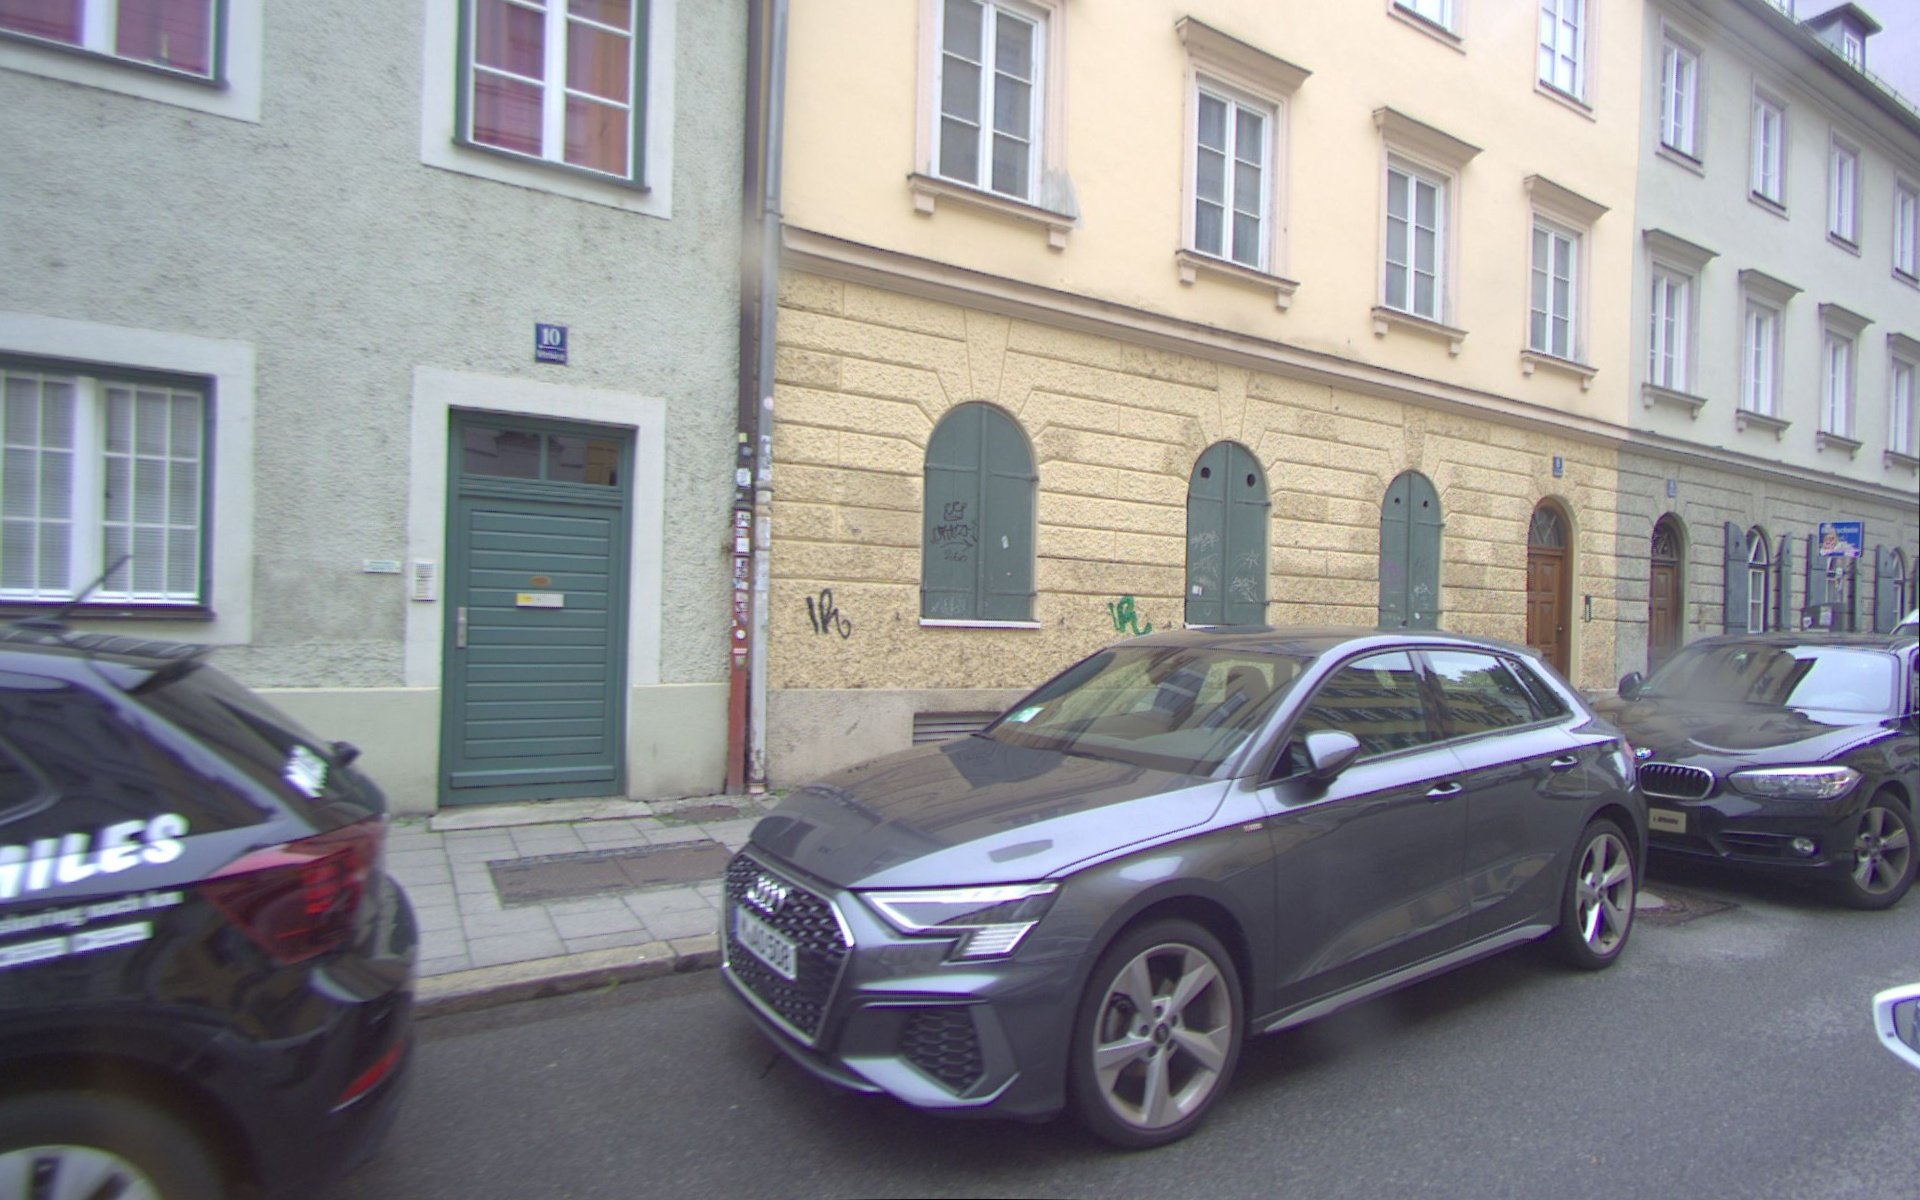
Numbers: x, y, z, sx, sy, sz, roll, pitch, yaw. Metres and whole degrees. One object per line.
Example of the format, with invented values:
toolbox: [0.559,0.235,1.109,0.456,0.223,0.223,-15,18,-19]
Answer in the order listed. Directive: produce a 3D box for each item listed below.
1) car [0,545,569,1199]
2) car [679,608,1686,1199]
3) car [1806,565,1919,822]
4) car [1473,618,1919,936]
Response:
car: [-3.052,0.630,1.743,4.155,1.516,1.744,2,0,-33]
car: [1.126,0.792,4.187,4.088,1.461,1.805,1,-1,-34]
car: [9.543,0.792,9.071,4.578,2.021,1.743,2,0,-34]
car: [5.321,0.882,6.462,4.057,1.427,1.745,2,0,-32]
